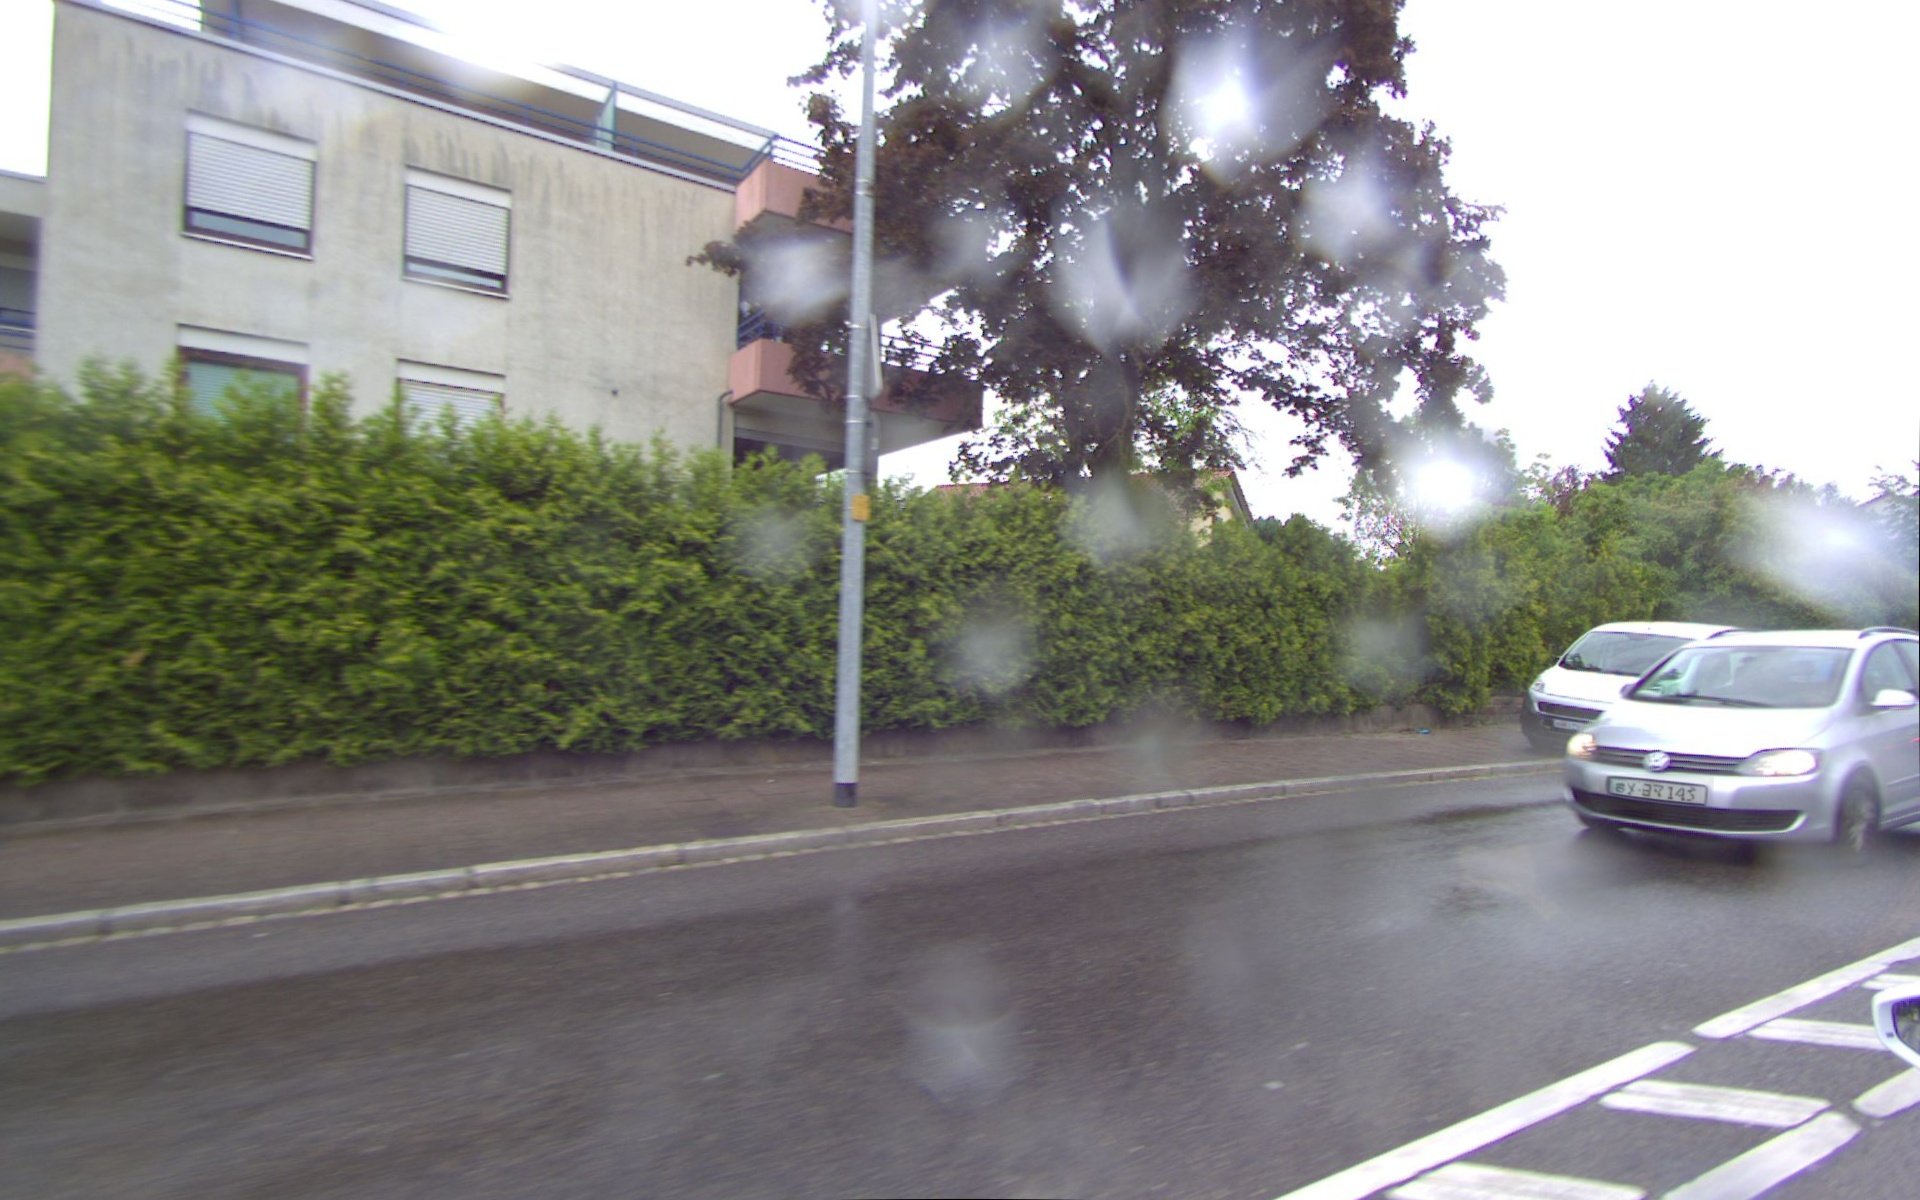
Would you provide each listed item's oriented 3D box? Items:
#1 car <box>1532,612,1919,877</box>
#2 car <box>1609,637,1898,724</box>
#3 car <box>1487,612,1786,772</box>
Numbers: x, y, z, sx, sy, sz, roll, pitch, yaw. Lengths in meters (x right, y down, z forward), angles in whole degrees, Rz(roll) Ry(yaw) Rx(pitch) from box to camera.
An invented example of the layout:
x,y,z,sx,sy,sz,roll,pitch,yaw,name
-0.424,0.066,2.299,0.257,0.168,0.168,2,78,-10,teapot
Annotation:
x,y,z,sx,sy,sz,roll,pitch,yaw,name
6.437,0.969,7.858,4.011,1.600,1.627,1,-4,-31,car
16.544,1.587,21.180,1.787,1.380,4.453,0,1,-34,car
8.890,1.094,13.138,3.933,1.731,1.692,1,2,-31,car
